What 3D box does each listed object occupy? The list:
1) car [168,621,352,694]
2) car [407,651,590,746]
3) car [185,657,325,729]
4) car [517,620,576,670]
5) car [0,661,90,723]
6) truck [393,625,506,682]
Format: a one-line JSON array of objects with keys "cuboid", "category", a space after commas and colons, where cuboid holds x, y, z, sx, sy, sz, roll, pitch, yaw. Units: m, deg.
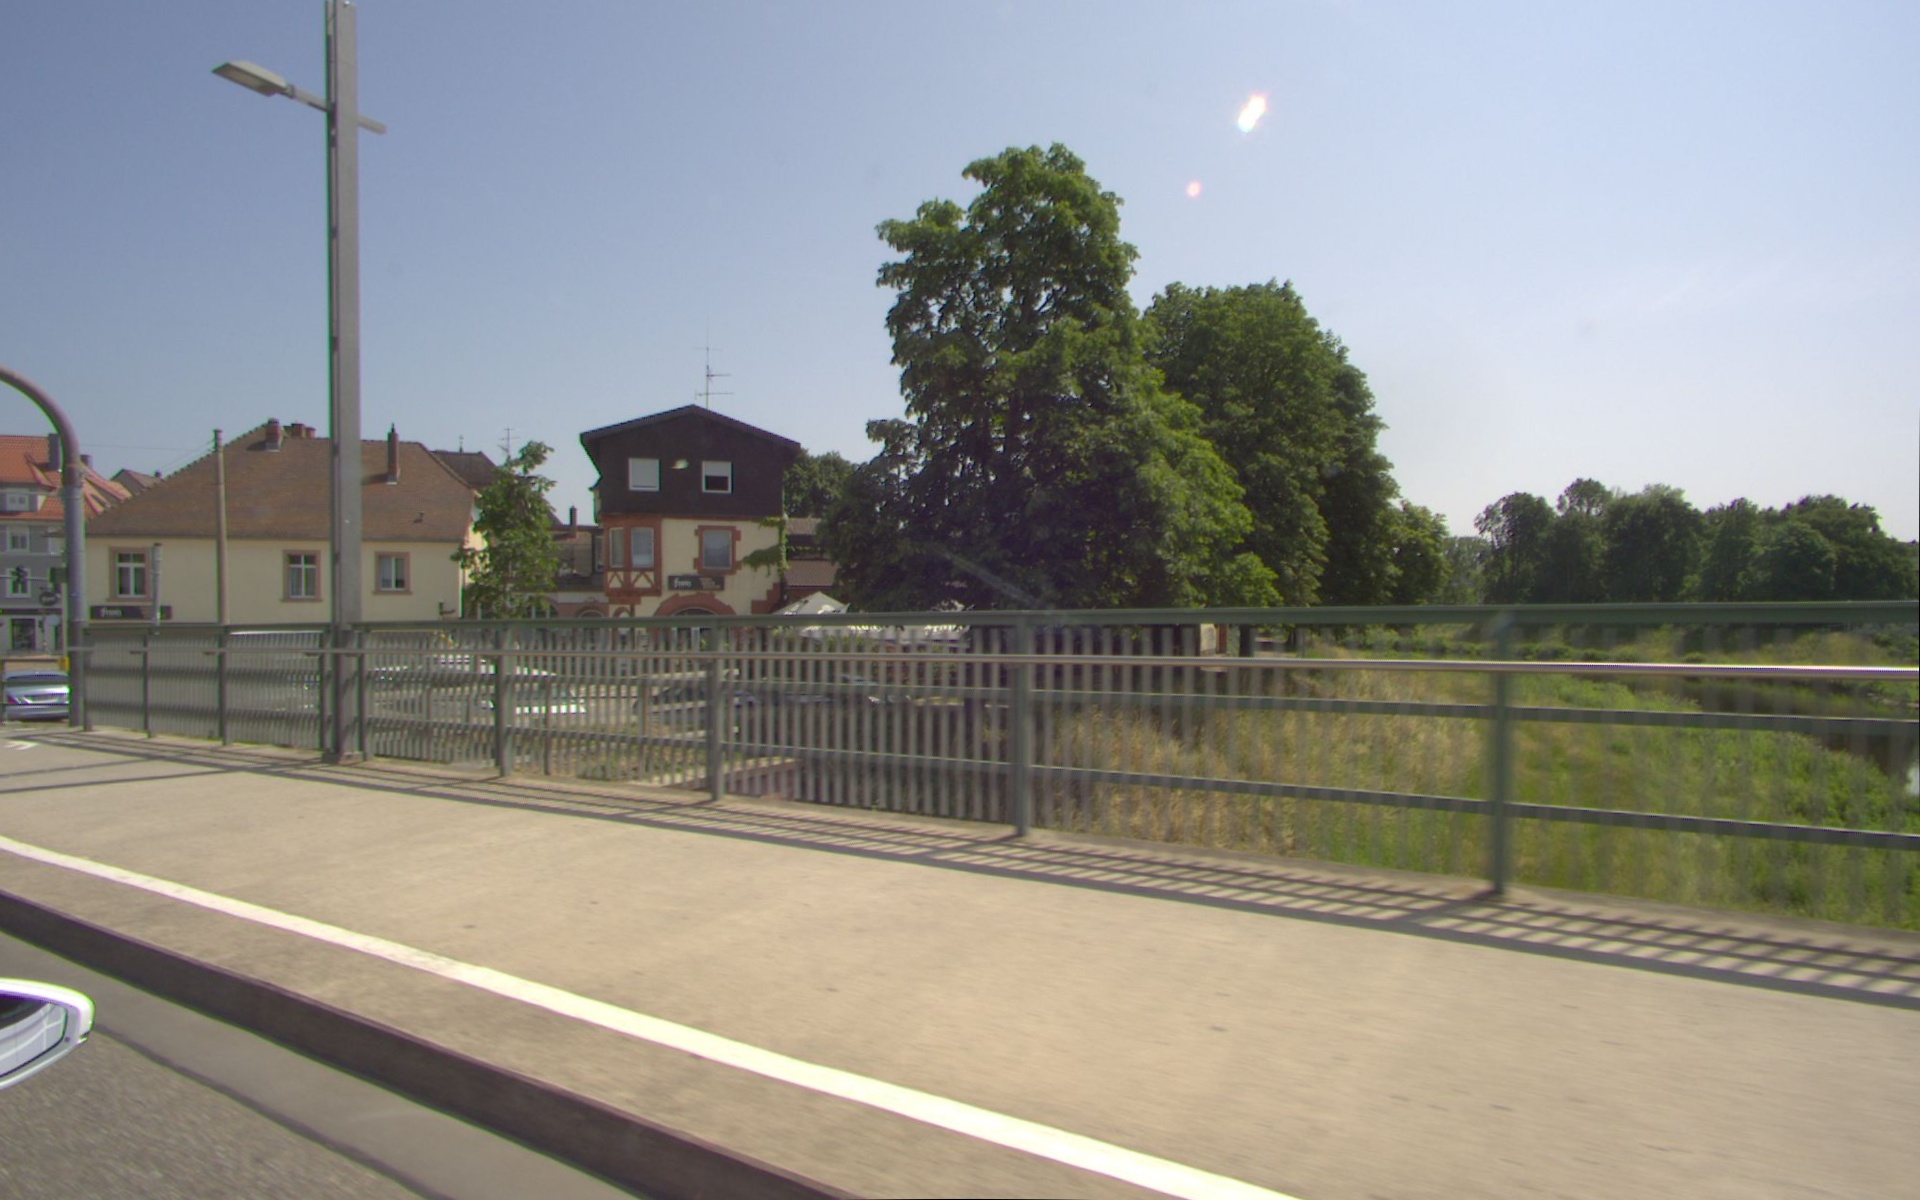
[{"cuboid": [-27.040, 2.177, 38.968, 5.544, 2.662, 2.234, 1, 0, -25], "category": "car"}, {"cuboid": [-10.105, 2.048, 21.825, 4.280, 1.733, 1.887, 0, -1, 38], "category": "car"}, {"cuboid": [-18.965, 2.417, 26.883, 4.430, 1.600, 1.921, 0, -1, 39], "category": "car"}, {"cuboid": [-18.065, 1.935, 43.857, 1.631, 2.039, 3.997, 1, -1, -12], "category": "car"}, {"cuboid": [-25.594, 2.465, 27.567, 4.202, 1.490, 1.745, -2, -2, 39], "category": "car"}, {"cuboid": [-21.011, 2.181, 41.403, 4.005, 2.244, 1.807, 1, -1, -24], "category": "truck"}]
